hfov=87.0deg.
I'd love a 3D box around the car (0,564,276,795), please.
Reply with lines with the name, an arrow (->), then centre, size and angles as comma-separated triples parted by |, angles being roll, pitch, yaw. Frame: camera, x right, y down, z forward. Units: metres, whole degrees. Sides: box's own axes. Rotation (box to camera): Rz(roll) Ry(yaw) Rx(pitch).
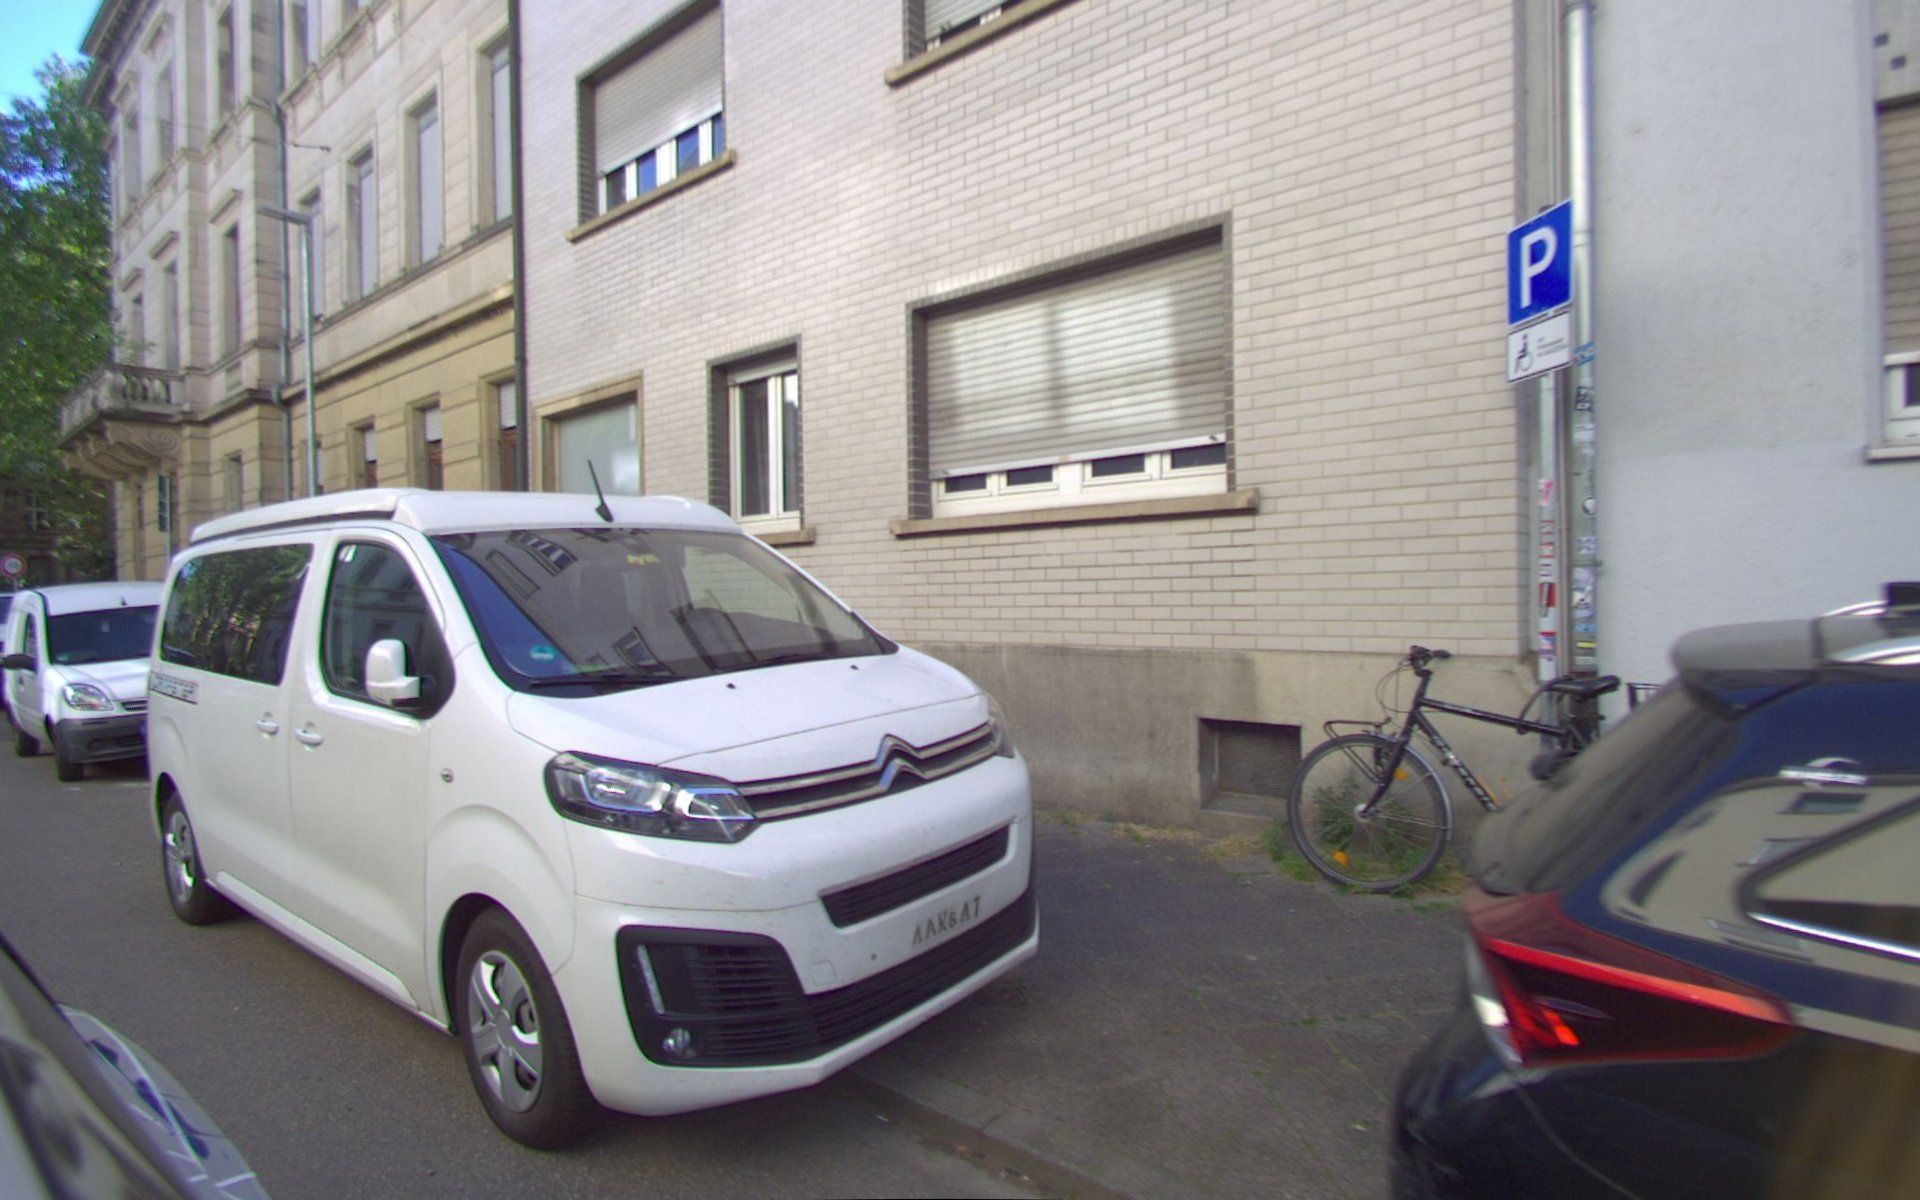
car -> -8.796, 0.697, 10.511 | 4.088, 1.890, 1.727 | -2, 2, 41

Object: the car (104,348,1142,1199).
car -> -1.830, 0.501, 4.296 | 4.776, 1.973, 1.876 | -2, 1, 39

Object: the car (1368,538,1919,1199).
car -> 2.708, 0.641, 0.554 | 4.298, 1.461, 1.689 | -1, 0, 40

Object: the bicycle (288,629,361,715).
bicycle -> -8.942, 0.987, 14.217 | 1.507, 1.134, 0.428 | -1, 0, 41

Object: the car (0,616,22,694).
car -> -21.739, 1.177, 21.715 | 3.938, 1.573, 1.848 | 0, 2, 40

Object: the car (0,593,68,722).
car -> -16.947, 0.932, 17.308 | 4.541, 2.029, 2.000 | -1, -1, 41

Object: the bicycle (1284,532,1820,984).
bicycle -> 2.331, 0.536, 4.169 | 1.798, 1.520, 0.552 | -1, 1, 38
